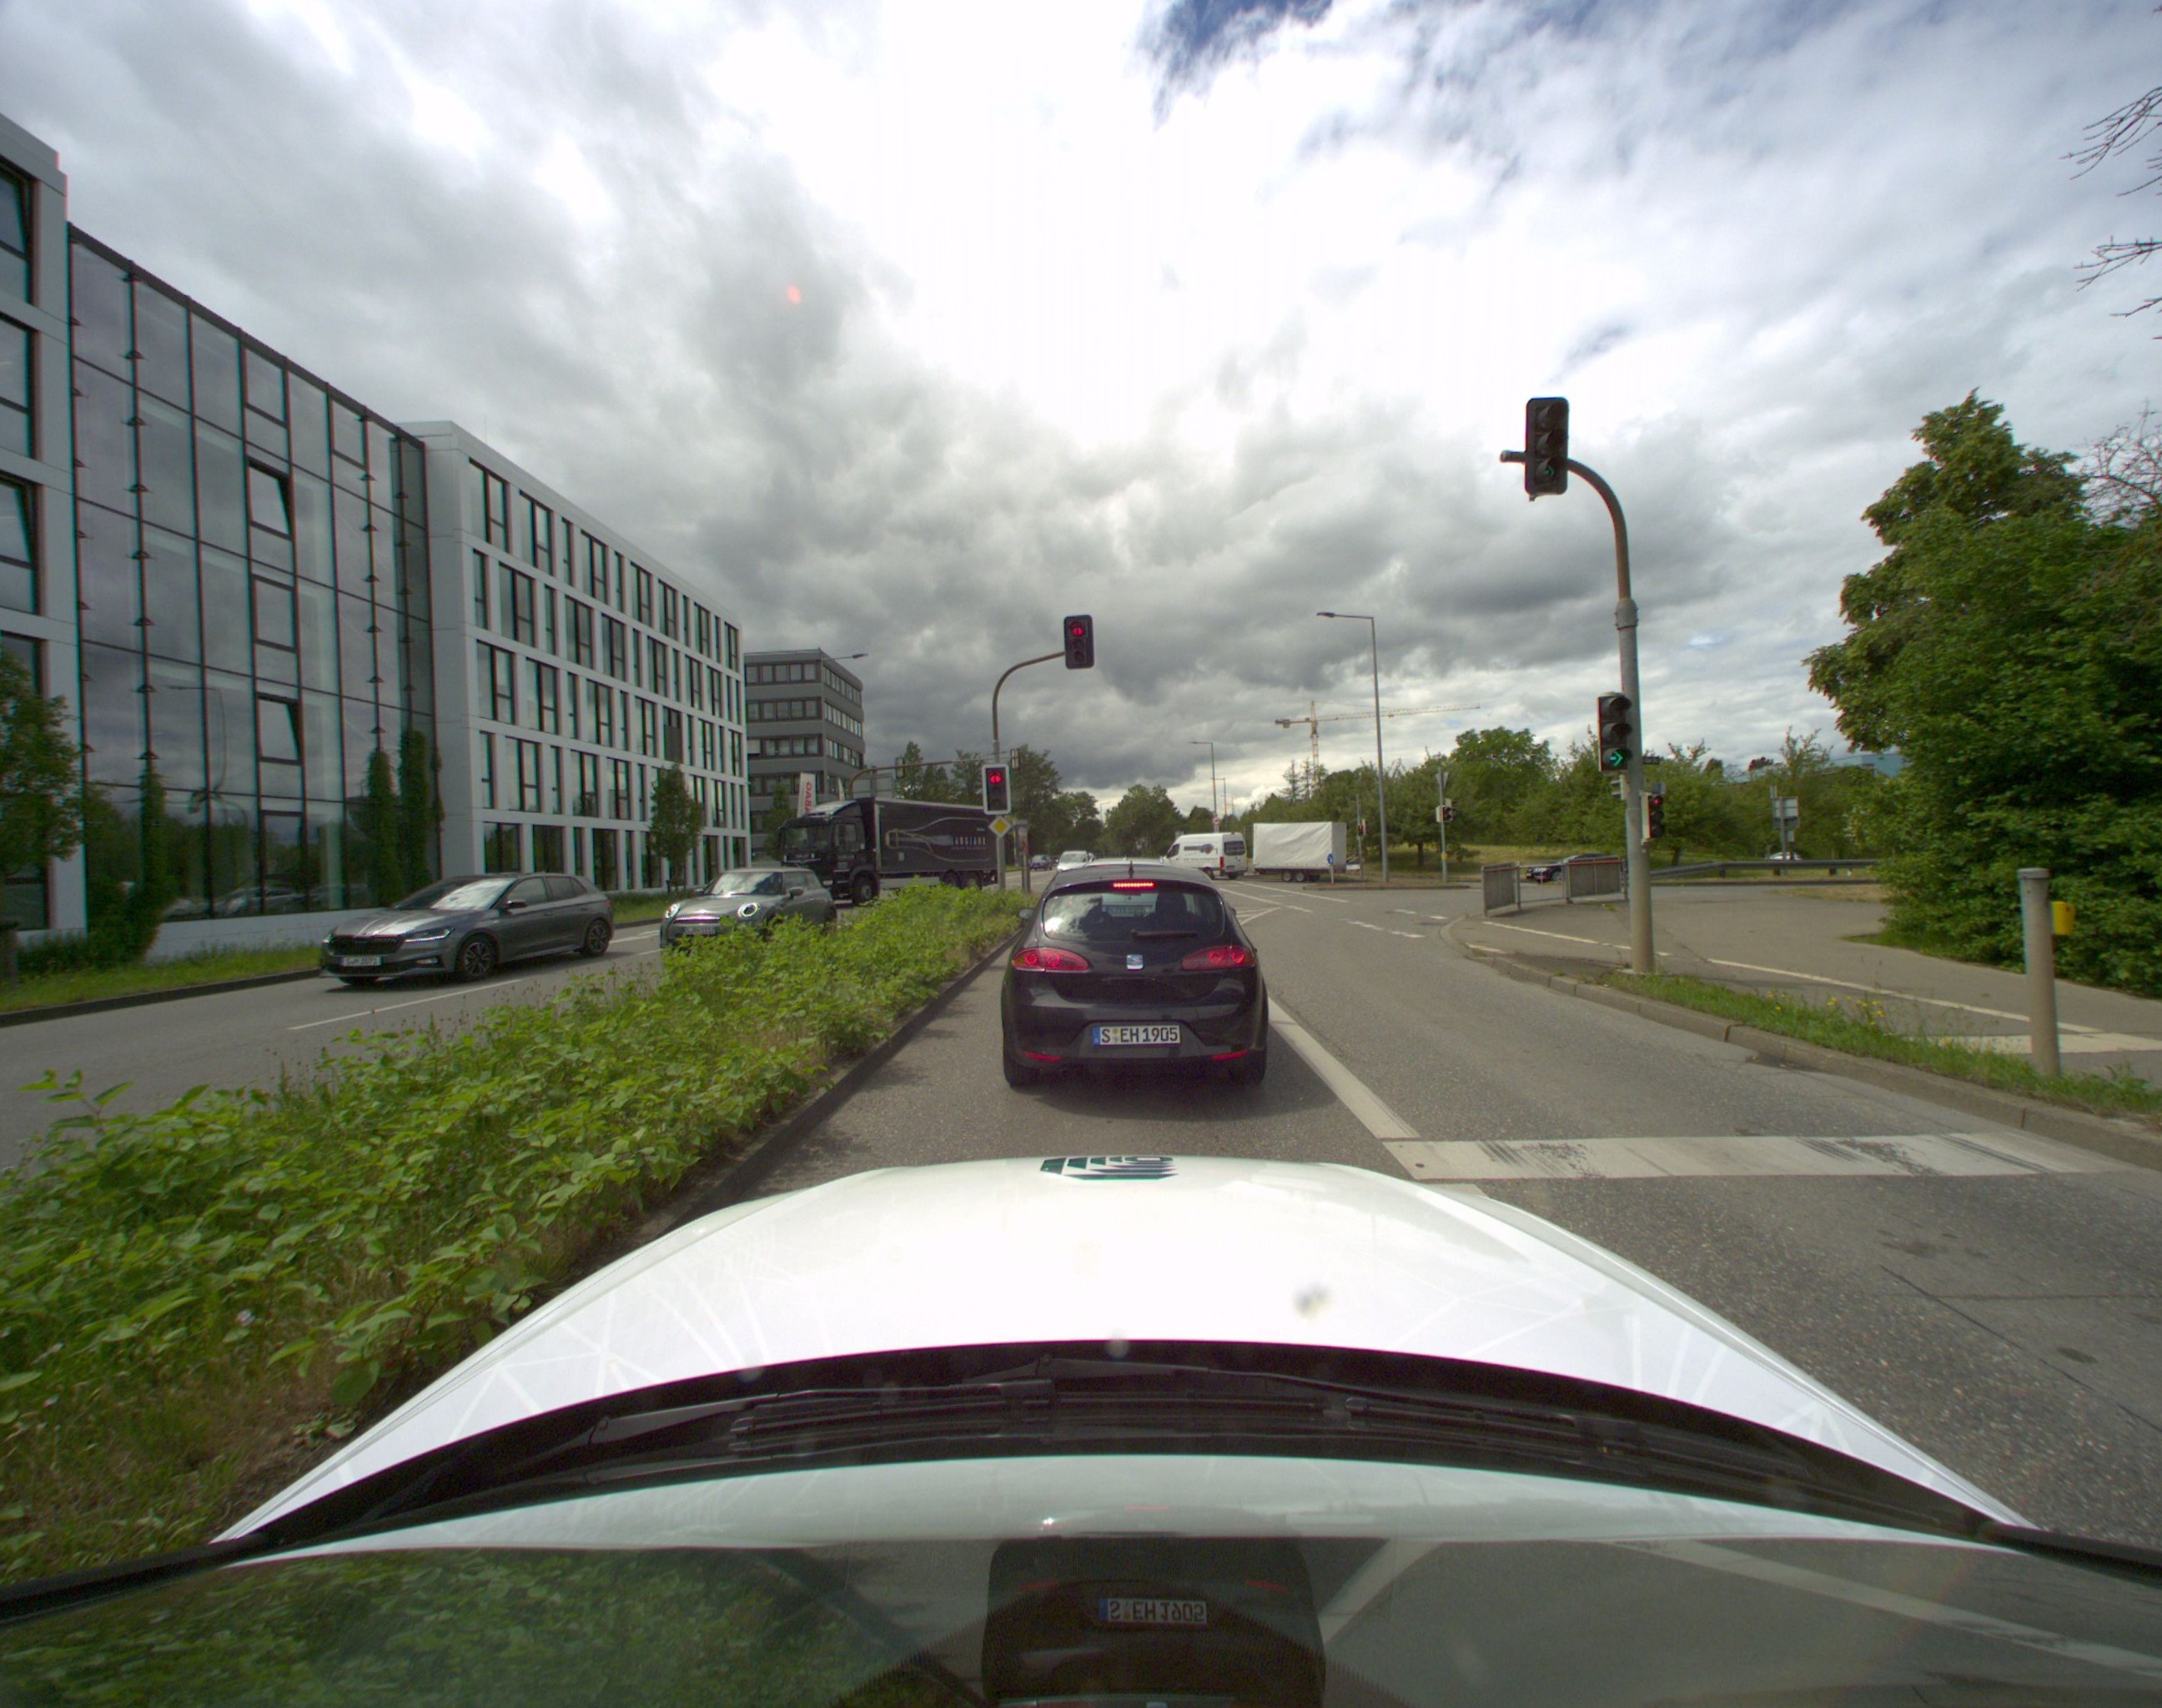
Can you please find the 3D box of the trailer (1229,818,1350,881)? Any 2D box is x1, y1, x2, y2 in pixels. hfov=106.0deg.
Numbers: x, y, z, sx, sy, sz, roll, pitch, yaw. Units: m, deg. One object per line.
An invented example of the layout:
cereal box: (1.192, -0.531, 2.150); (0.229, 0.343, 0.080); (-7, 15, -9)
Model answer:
trailer: (10.737, -0.178, 42.151); (5.514, 3.073, 2.515); (-1, -1, 34)

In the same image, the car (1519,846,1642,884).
car: (23.116, 0.496, 37.820); (4.434, 1.565, 2.003); (-2, 0, 5)
